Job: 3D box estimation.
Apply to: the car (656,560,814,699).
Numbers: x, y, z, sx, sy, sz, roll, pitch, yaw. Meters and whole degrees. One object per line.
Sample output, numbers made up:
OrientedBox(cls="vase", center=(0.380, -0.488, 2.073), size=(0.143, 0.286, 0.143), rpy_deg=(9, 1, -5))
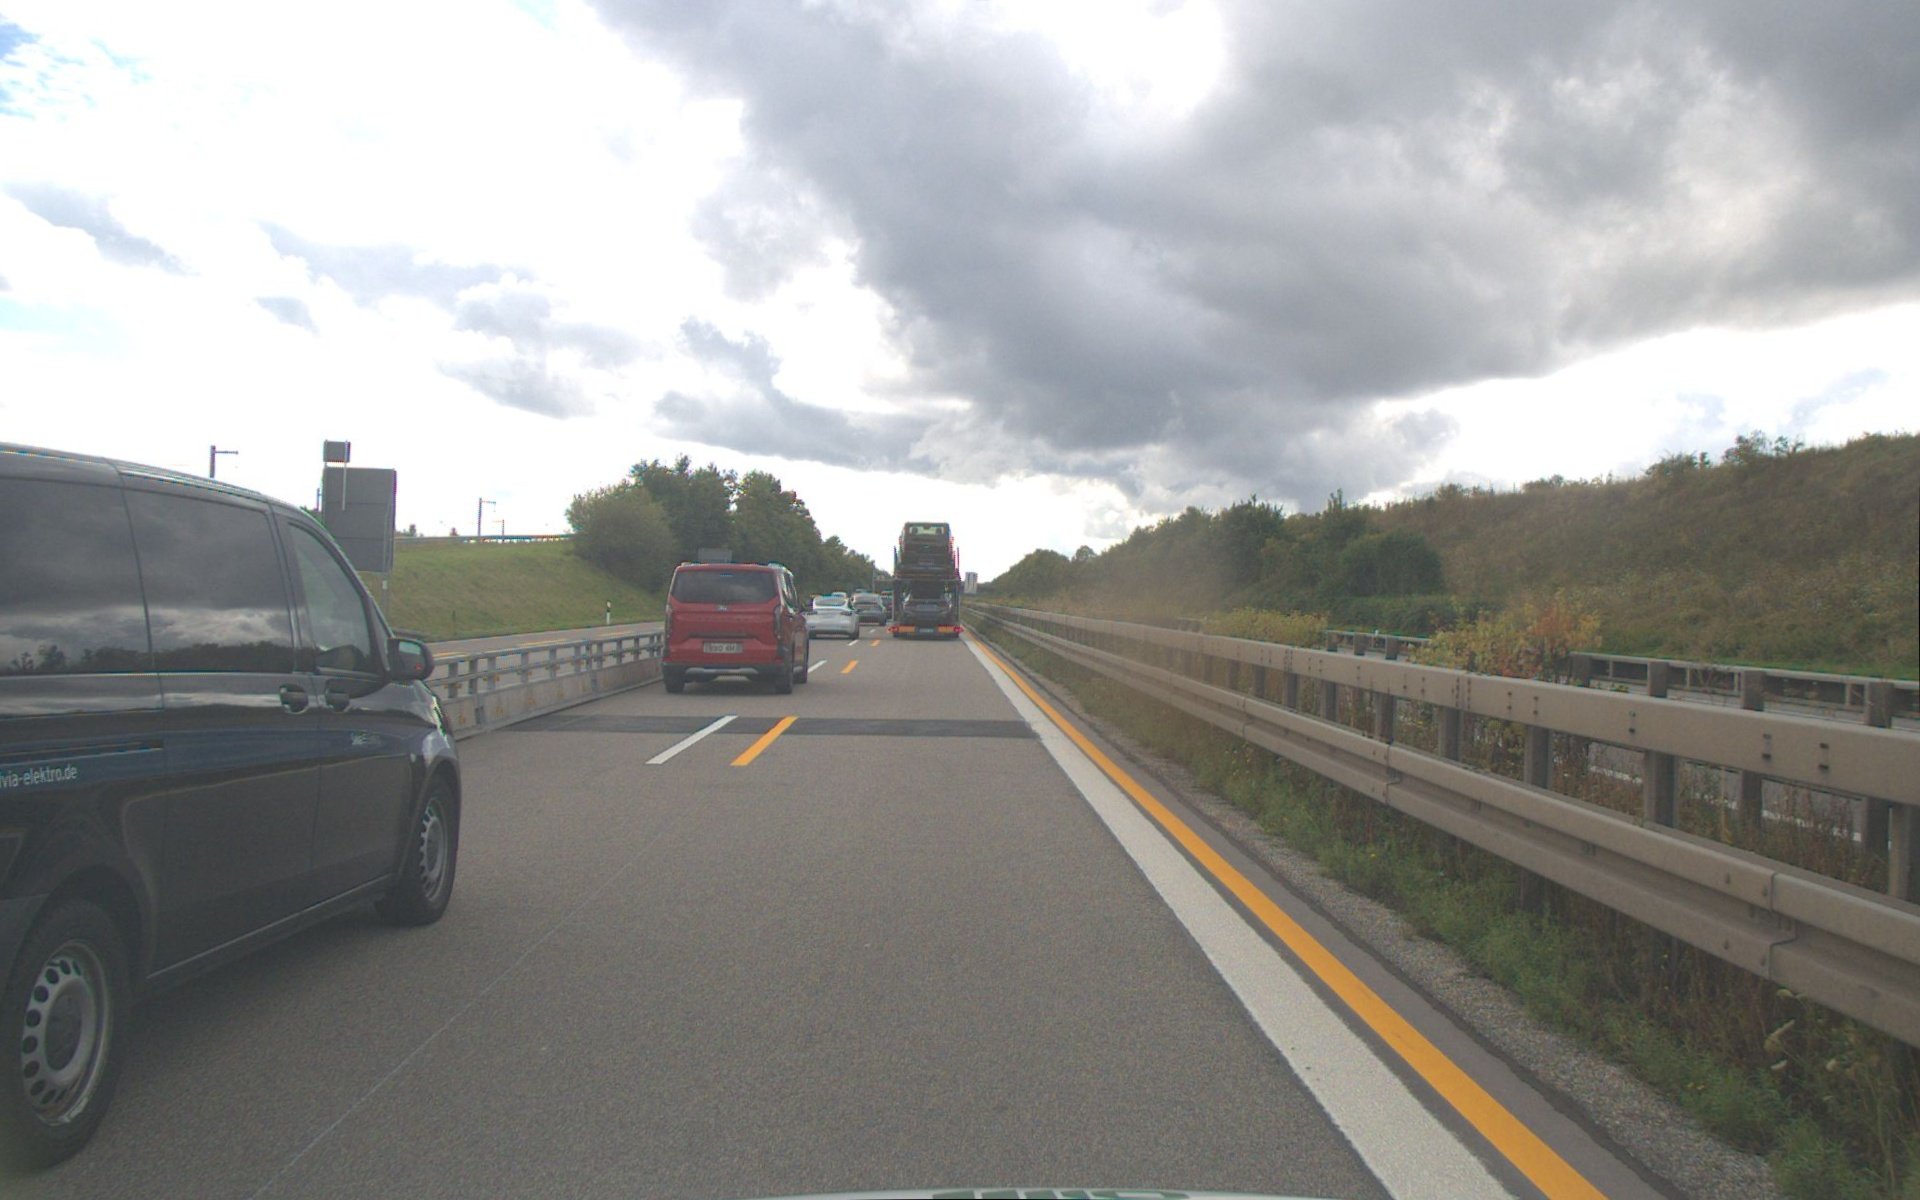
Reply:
OrientedBox(cls="car", center=(-3.528, 0.430, 26.723), size=(1.990, 2.049, 4.577), rpy_deg=(0, 0, -1))

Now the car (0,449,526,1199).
OrientedBox(cls="car", center=(-3.201, 0.591, 5.829), size=(1.953, 1.875, 5.608), rpy_deg=(0, 0, -1))

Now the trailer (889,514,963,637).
OrientedBox(cls="trailer", center=(-1.201, -0.843, 62.138), size=(2.464, 4.177, 11.112), rpy_deg=(1, 0, 0))

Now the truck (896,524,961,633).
OrientedBox(cls="truck", center=(-1.250, -0.841, 66.973), size=(2.464, 4.177, 5.684), rpy_deg=(1, 0, 0))

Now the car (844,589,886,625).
OrientedBox(cls="car", center=(-4.794, 0.348, 83.865), size=(1.990, 1.788, 4.576), rpy_deg=(0, 0, -2))

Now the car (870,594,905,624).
OrientedBox(cls="car", center=(-4.279, 0.519, 98.170), size=(1.990, 1.788, 4.576), rpy_deg=(0, 0, -2))

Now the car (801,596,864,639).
OrientedBox(cls="car", center=(-4.474, 0.603, 58.508), size=(1.990, 1.456, 4.576), rpy_deg=(0, 0, -2))
